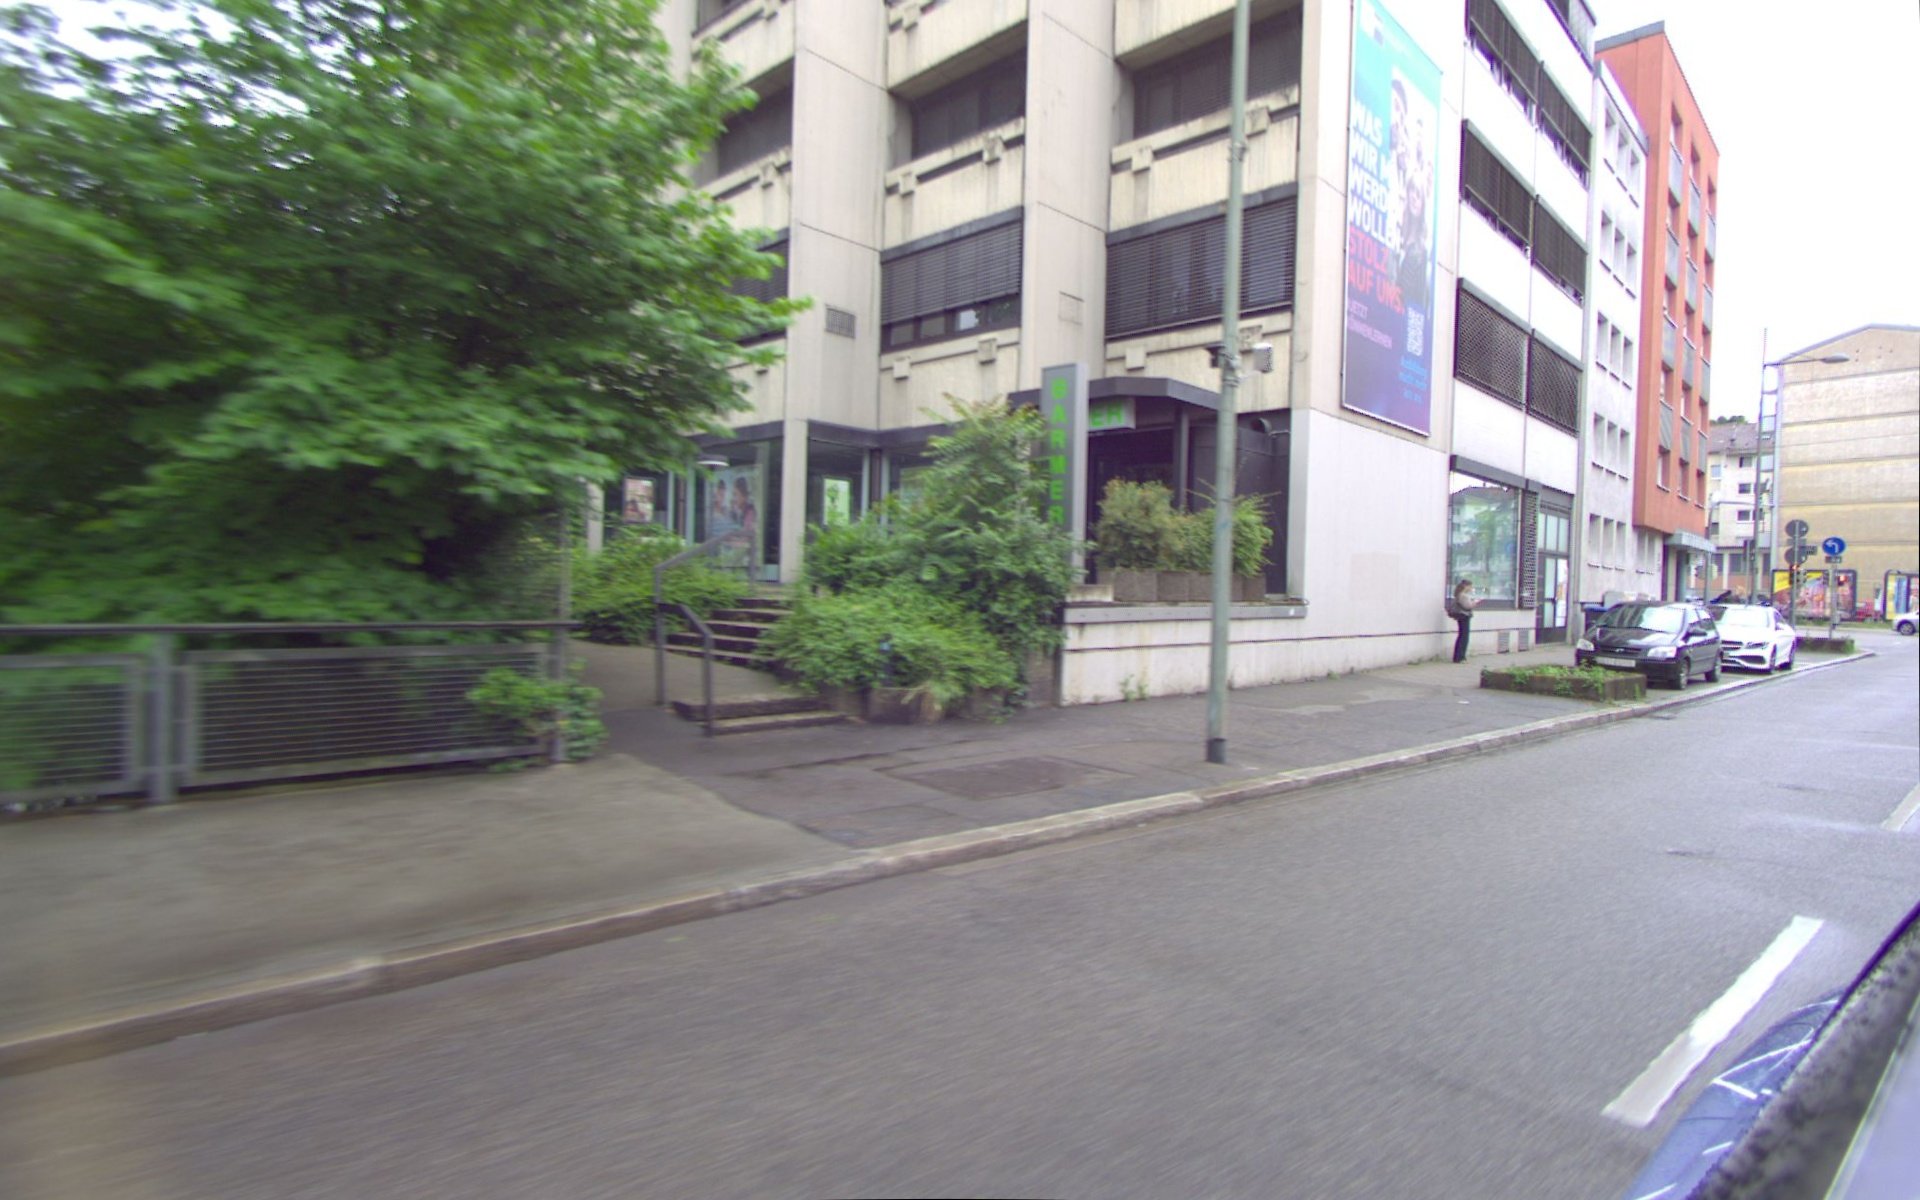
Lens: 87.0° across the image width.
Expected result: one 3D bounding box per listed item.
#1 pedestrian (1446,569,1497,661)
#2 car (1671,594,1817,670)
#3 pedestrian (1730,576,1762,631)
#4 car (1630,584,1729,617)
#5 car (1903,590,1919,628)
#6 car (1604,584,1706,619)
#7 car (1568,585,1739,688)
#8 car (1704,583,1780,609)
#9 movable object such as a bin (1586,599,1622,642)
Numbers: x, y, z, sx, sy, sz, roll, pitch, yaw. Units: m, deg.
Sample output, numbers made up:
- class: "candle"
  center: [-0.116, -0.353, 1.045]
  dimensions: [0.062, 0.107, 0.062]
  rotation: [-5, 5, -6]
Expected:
- class: "pedestrian"
  center: [9.791, 0.277, 19.360]
  dimensions: [0.598, 1.679, 0.681]
  rotation: [6, 4, 42]
- class: "car"
  center: [17.517, 0.653, 22.531]
  dimensions: [4.493, 1.437, 1.833]
  rotation: [0, 3, -43]
- class: "pedestrian"
  center: [31.557, 0.121, 40.654]
  dimensions: [0.797, 2.180, 0.732]
  rotation: [2, 1, 25]
- class: "car"
  center: [38.911, 0.006, 54.802]
  dimensions: [1.803, 1.641, 3.999]
  rotation: [1, 2, -37]
- class: "car"
  center: [43.777, 0.456, 43.761]
  dimensions: [1.798, 1.641, 4.009]
  rotation: [1, 1, -15]
- class: "car"
  center: [35.864, 0.044, 52.304]
  dimensions: [1.802, 1.641, 3.999]
  rotation: [1, 2, -37]
- class: "car"
  center: [12.511, 0.583, 18.182]
  dimensions: [3.741, 1.577, 1.705]
  rotation: [0, 3, -43]
- class: "car"
  center: [54.873, -0.304, 71.040]
  dimensions: [1.801, 1.732, 3.800]
  rotation: [1, 1, -22]
- class: "movable object such as a bin"
  center: [17.057, 0.536, 26.800]
  dimensions: [0.505, 1.117, 0.680]
  rotation: [1, 1, -43]
